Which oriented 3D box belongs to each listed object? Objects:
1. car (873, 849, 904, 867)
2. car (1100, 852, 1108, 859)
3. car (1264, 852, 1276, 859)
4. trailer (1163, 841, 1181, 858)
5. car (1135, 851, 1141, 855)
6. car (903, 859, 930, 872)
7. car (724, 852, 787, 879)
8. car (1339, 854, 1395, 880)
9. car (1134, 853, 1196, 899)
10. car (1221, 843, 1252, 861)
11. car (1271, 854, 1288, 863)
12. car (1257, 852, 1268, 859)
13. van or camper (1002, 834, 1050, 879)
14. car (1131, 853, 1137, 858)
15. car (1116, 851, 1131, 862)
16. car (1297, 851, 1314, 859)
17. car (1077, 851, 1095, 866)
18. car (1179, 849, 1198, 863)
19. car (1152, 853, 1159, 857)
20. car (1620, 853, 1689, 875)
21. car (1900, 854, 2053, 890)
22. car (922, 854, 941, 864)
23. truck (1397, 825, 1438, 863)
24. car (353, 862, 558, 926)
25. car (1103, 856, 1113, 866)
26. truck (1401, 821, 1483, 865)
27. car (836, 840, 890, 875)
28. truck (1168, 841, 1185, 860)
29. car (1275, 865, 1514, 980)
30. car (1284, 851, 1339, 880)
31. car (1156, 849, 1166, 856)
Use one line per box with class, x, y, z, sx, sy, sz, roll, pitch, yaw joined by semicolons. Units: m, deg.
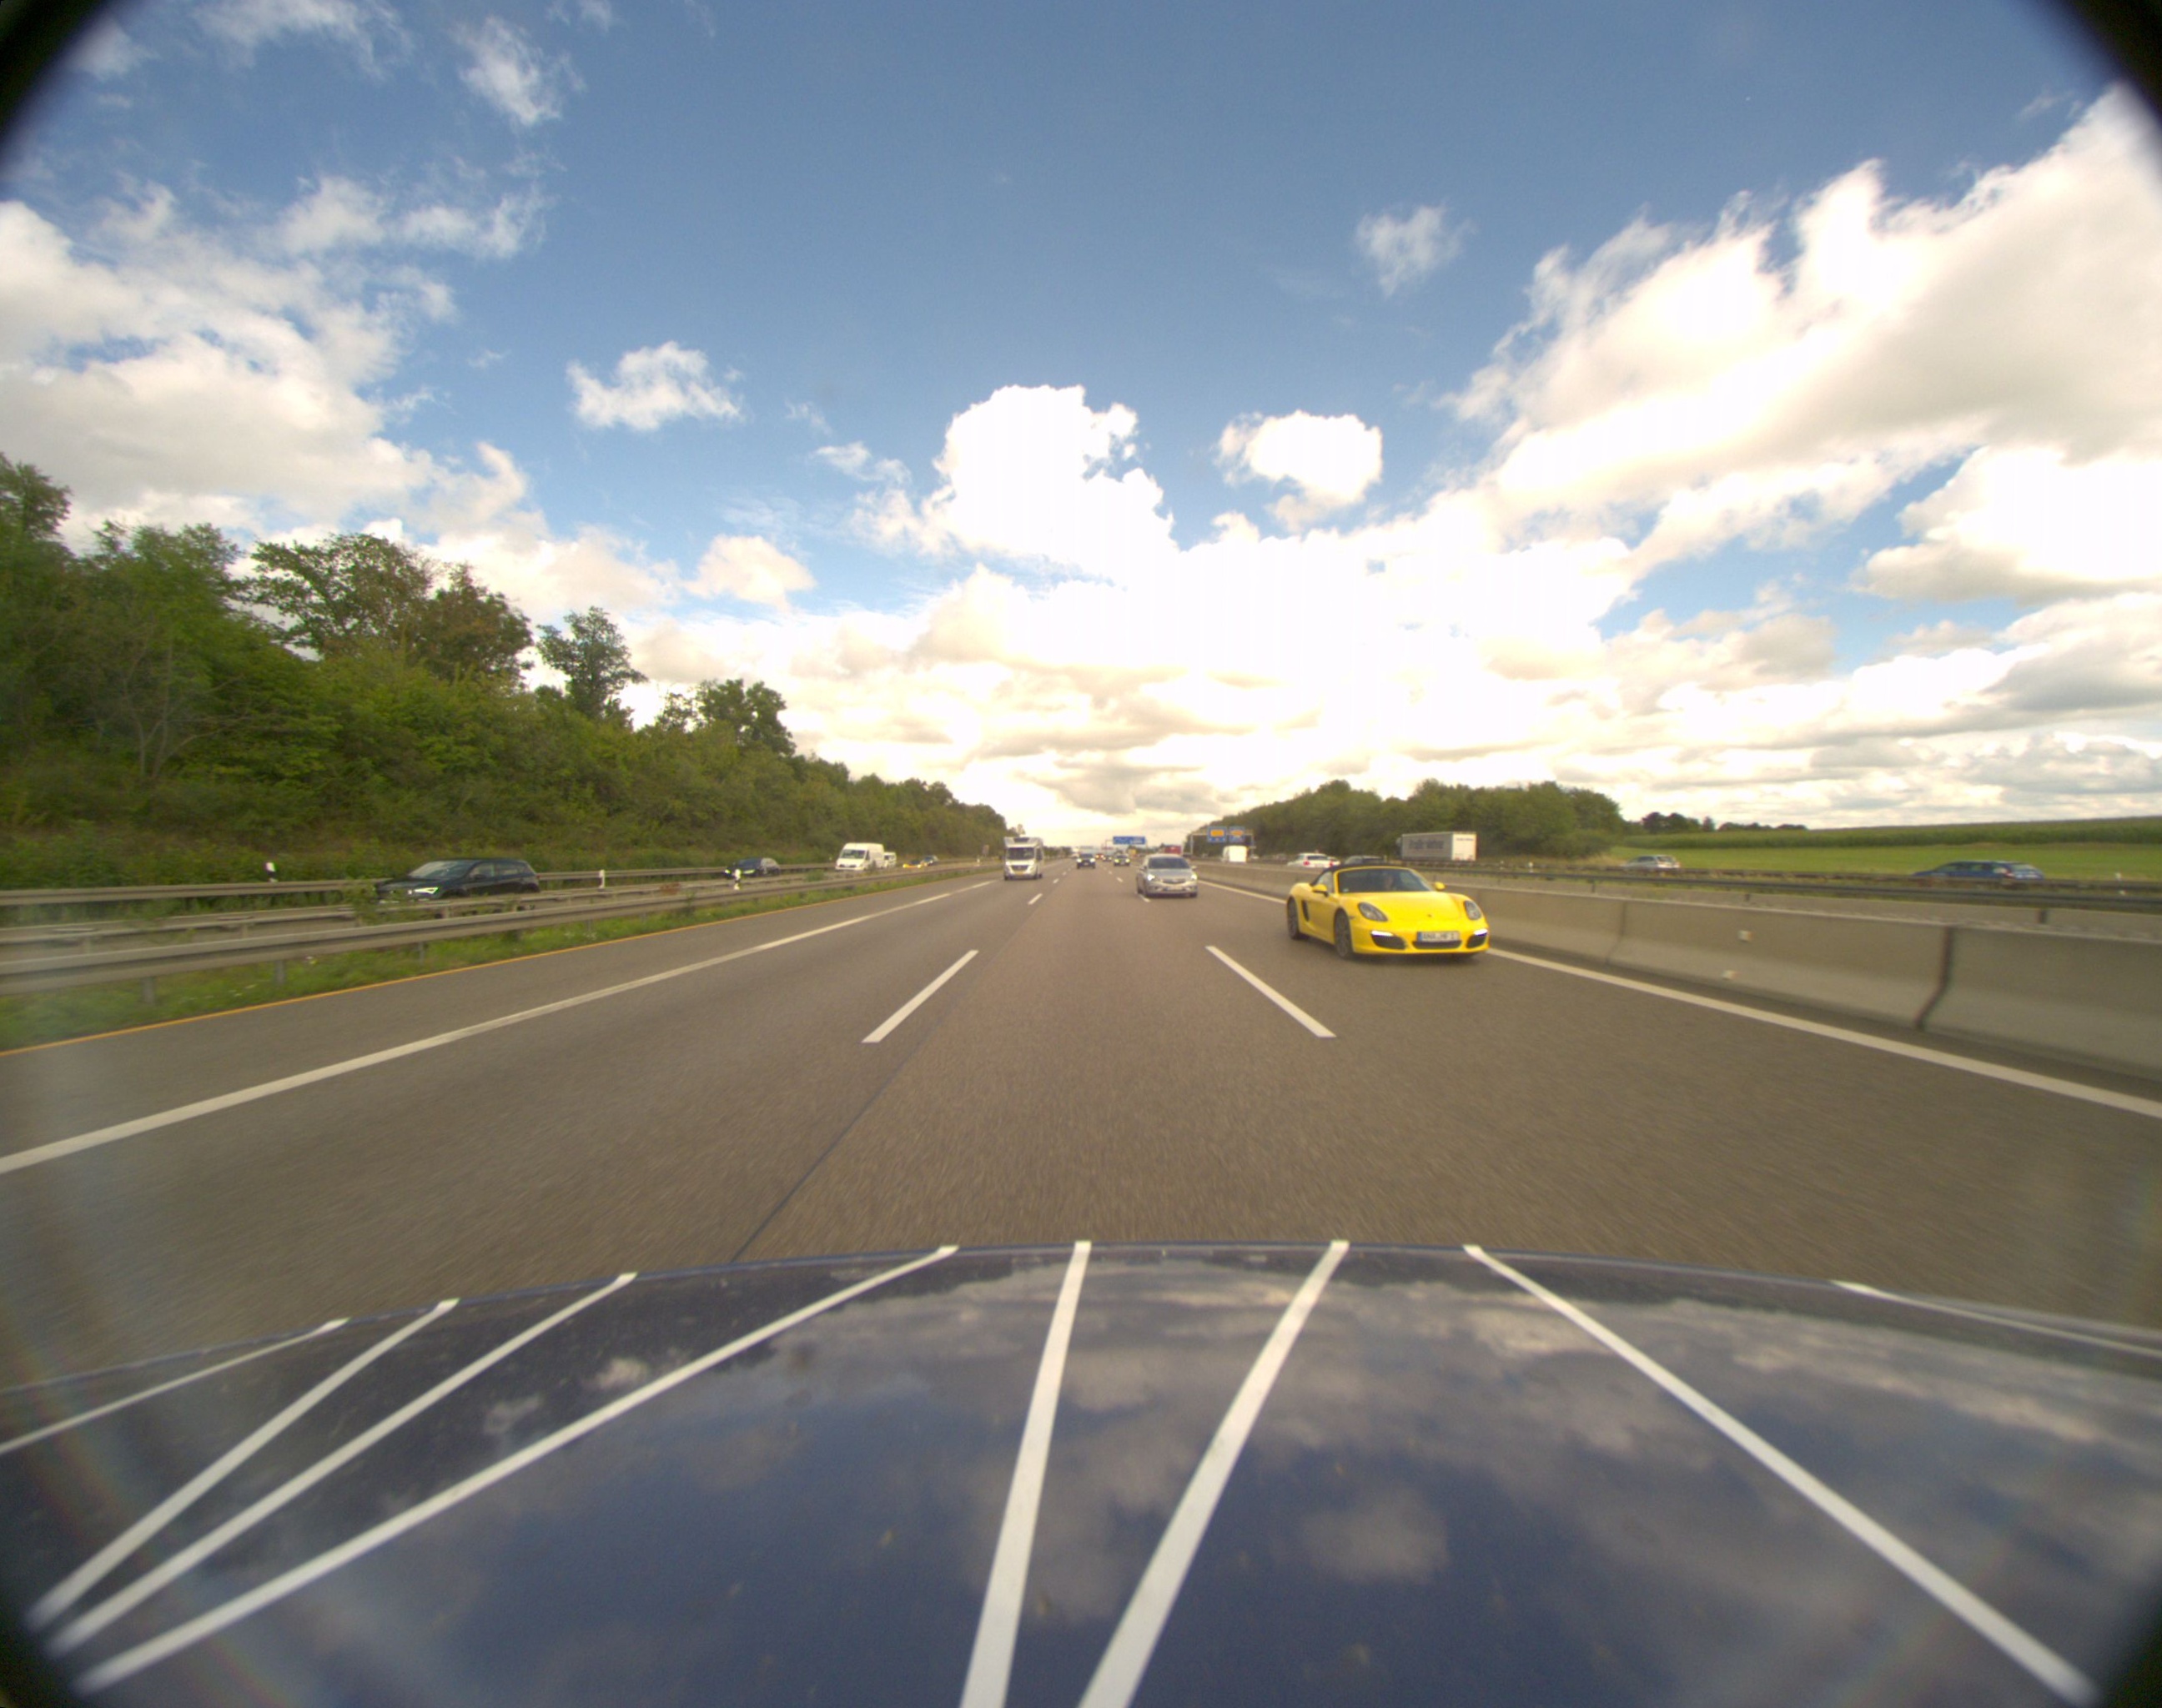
car;-19.677;0.435;78.017;1.848;1.741;4.764;-1;0;1
car;6.523;0.402;215.341;1.998;1.846;4.286;-1;1;1
car;43.417;0.224;174.728;1.671;1.546;4.000;-1;1;1
trailer;22.431;-1.101;187.937;3.054;4.264;10.654;-1;0;0
car;19.647;-0.460;262.300;1.584;1.276;4.241;-1;0;1
car;-16.193;1.073;75.003;1.716;1.175;4.168;-1;0;0
car;-20.033;0.666;46.981;1.848;1.593;4.764;1;0;0
car;17.063;0.732;45.576;1.641;1.395;4.491;-1;0;0
car;2.915;0.713;27.135;1.687;1.476;4.615;-1;0;0
car;17.416;-0.226;85.448;2.361;1.956;5.834;-1;0;1
car;34.518;0.727;132.260;1.719;1.401;4.520;-1;0;0
car;40.486;0.358;169.558;1.671;1.546;4.000;-1;1;1
van or camper;-3.540;0.133;50.561;2.475;2.706;7.661;-2;0;1
car;15.897;0.403;227.910;1.692;1.496;4.643;-1;0;0
car;5.271;0.276;93.793;1.593;1.307;3.978;1;0;0
car;43.201;0.190;145.985;1.751;1.556;4.804;-1;0;-1
car;0.600;0.466;82.495;1.876;1.626;4.859;-1;0;1
car;13.661;0.201;97.174;1.768;1.721;4.703;-2;0;1
car;22.691;0.158;230.433;1.659;1.186;4.130;-1;0;0
car;41.854;0.698;55.610;1.733;1.525;4.452;-1;1;0
car;41.651;0.793;35.550;1.733;1.525;4.608;-1;1;0
car;-19.844;0.658;101.018;1.716;1.407;4.169;0;0;1
truck;42.531;-1.224;96.190;3.053;4.632;5.072;-1;1;1
car;-16.895;0.997;20.888;1.848;1.476;4.525;1;0;1
car;5.552;1.483;157.742;1.998;2.002;4.589;0;0;1
truck;42.360;-1.264;89.902;3.081;4.775;14.126;-1;1;1
car;-16.387;0.249;57.525;2.075;2.539;6.742;0;0;0
truck;22.412;-0.829;178.799;3.054;4.264;8.588;-1;0;0
car;4.358;0.865;11.368;1.811;1.307;4.247;1;0;0
car;13.238;0.613;43.877;1.768;1.523;4.717;-1;0;1
car;18.103;-0.337;172.921;1.768;1.523;4.941;-1;0;0
